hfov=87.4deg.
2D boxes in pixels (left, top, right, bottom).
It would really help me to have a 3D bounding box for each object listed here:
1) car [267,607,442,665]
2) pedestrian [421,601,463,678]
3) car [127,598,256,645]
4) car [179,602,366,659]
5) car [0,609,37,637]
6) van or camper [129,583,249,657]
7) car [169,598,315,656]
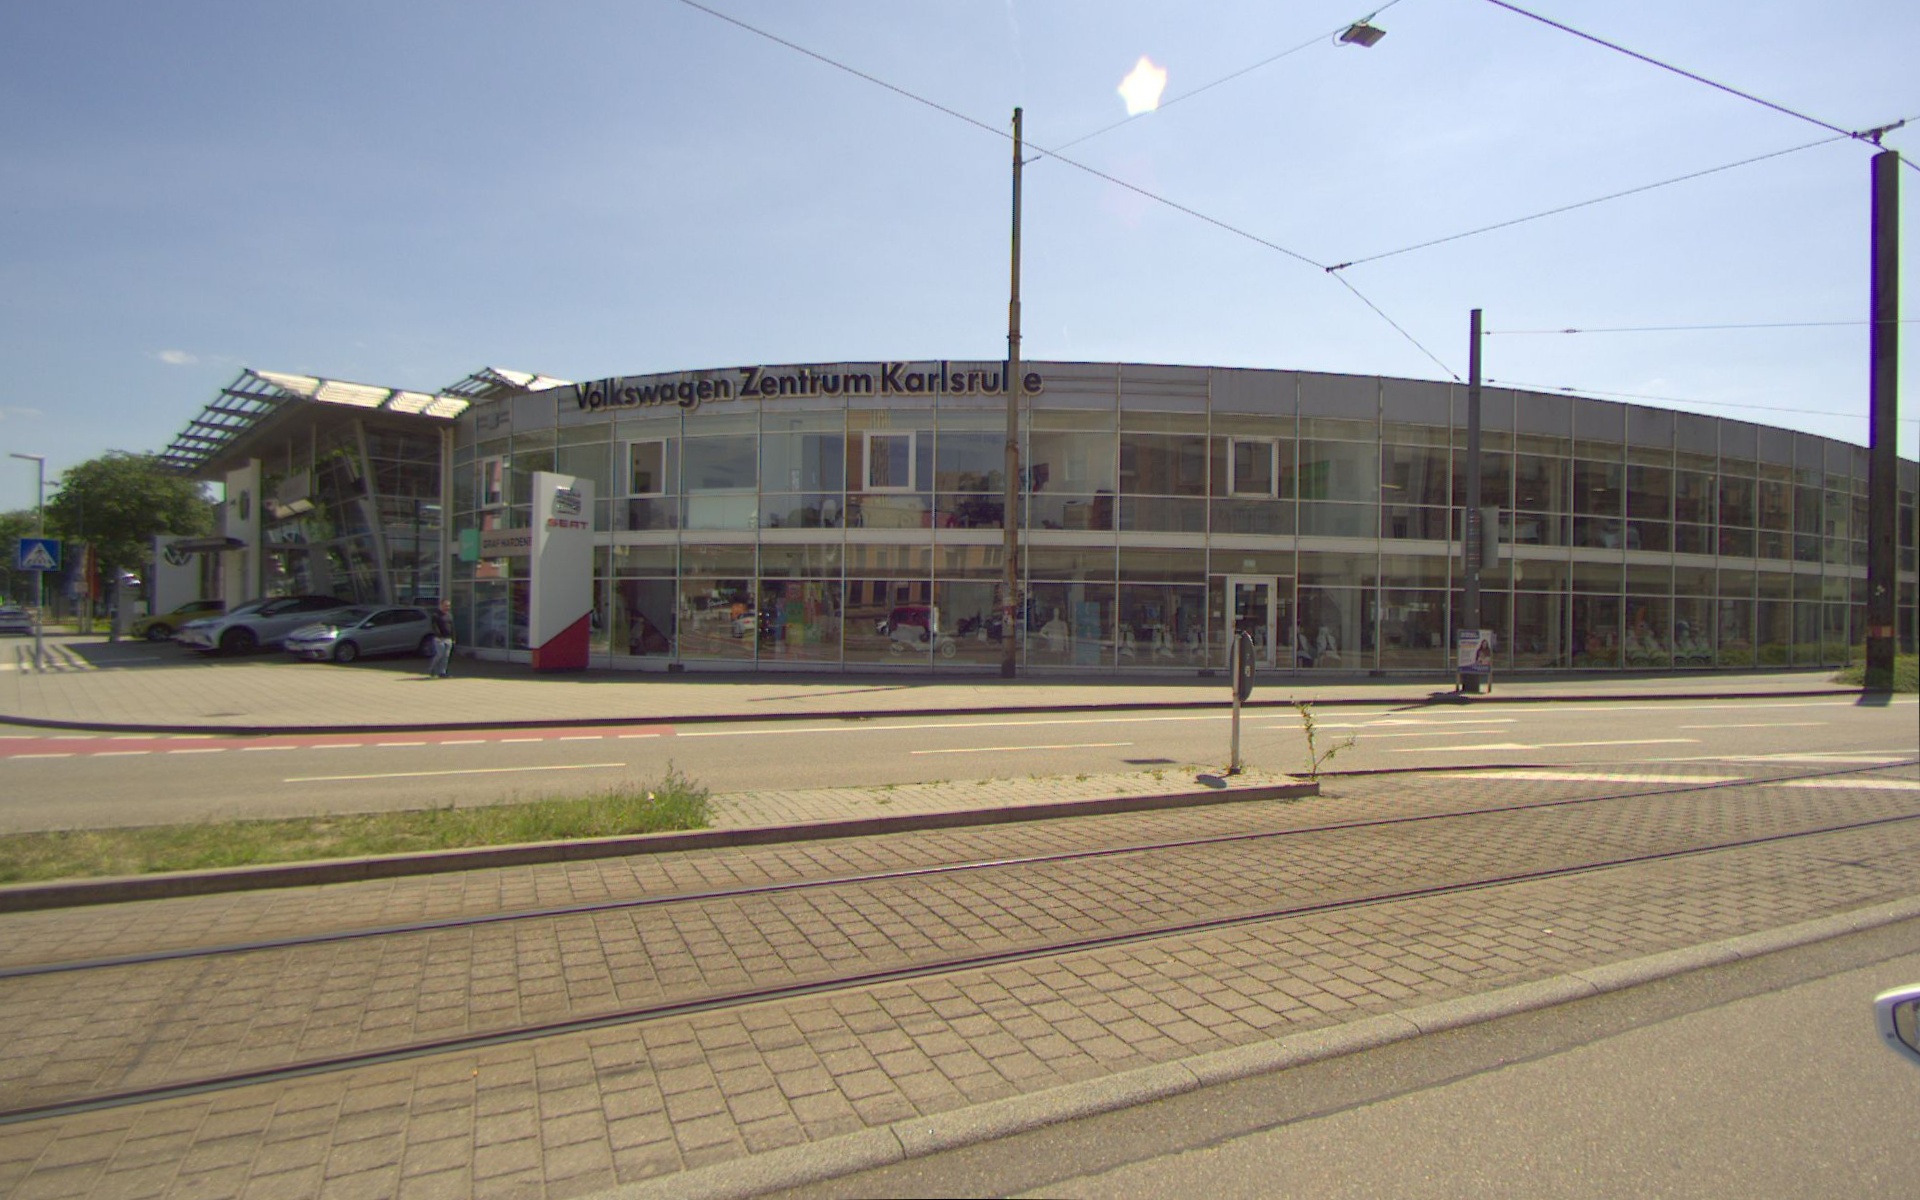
[{"bbox_3d":[-16.607,0.946,27.769,1.473,1.476,4.054,0,-1,23],"label":"car"},{"bbox_3d":[-11.463,0.856,22.228,0.810,1.664,0.724,1,0,-29],"label":"pedestrian"},{"bbox_3d":[-31.734,0.886,41.562,4.072,1.857,1.640,1,-1,-45],"label":"car"},{"bbox_3d":[-19.745,0.829,29.020,1.585,1.439,4.175,0,1,34],"label":"car"},{"bbox_3d":[-55.648,1.317,59.161,1.816,1.578,3.951,1,-1,-42],"label":"car"},{"bbox_3d":[-33.469,0.858,43.644,3.972,3.043,1.974,1,0,-44],"label":"van or camper"},{"bbox_3d":[-21.655,0.793,30.416,1.403,1.639,3.325,1,-1,29],"label":"car"}]
